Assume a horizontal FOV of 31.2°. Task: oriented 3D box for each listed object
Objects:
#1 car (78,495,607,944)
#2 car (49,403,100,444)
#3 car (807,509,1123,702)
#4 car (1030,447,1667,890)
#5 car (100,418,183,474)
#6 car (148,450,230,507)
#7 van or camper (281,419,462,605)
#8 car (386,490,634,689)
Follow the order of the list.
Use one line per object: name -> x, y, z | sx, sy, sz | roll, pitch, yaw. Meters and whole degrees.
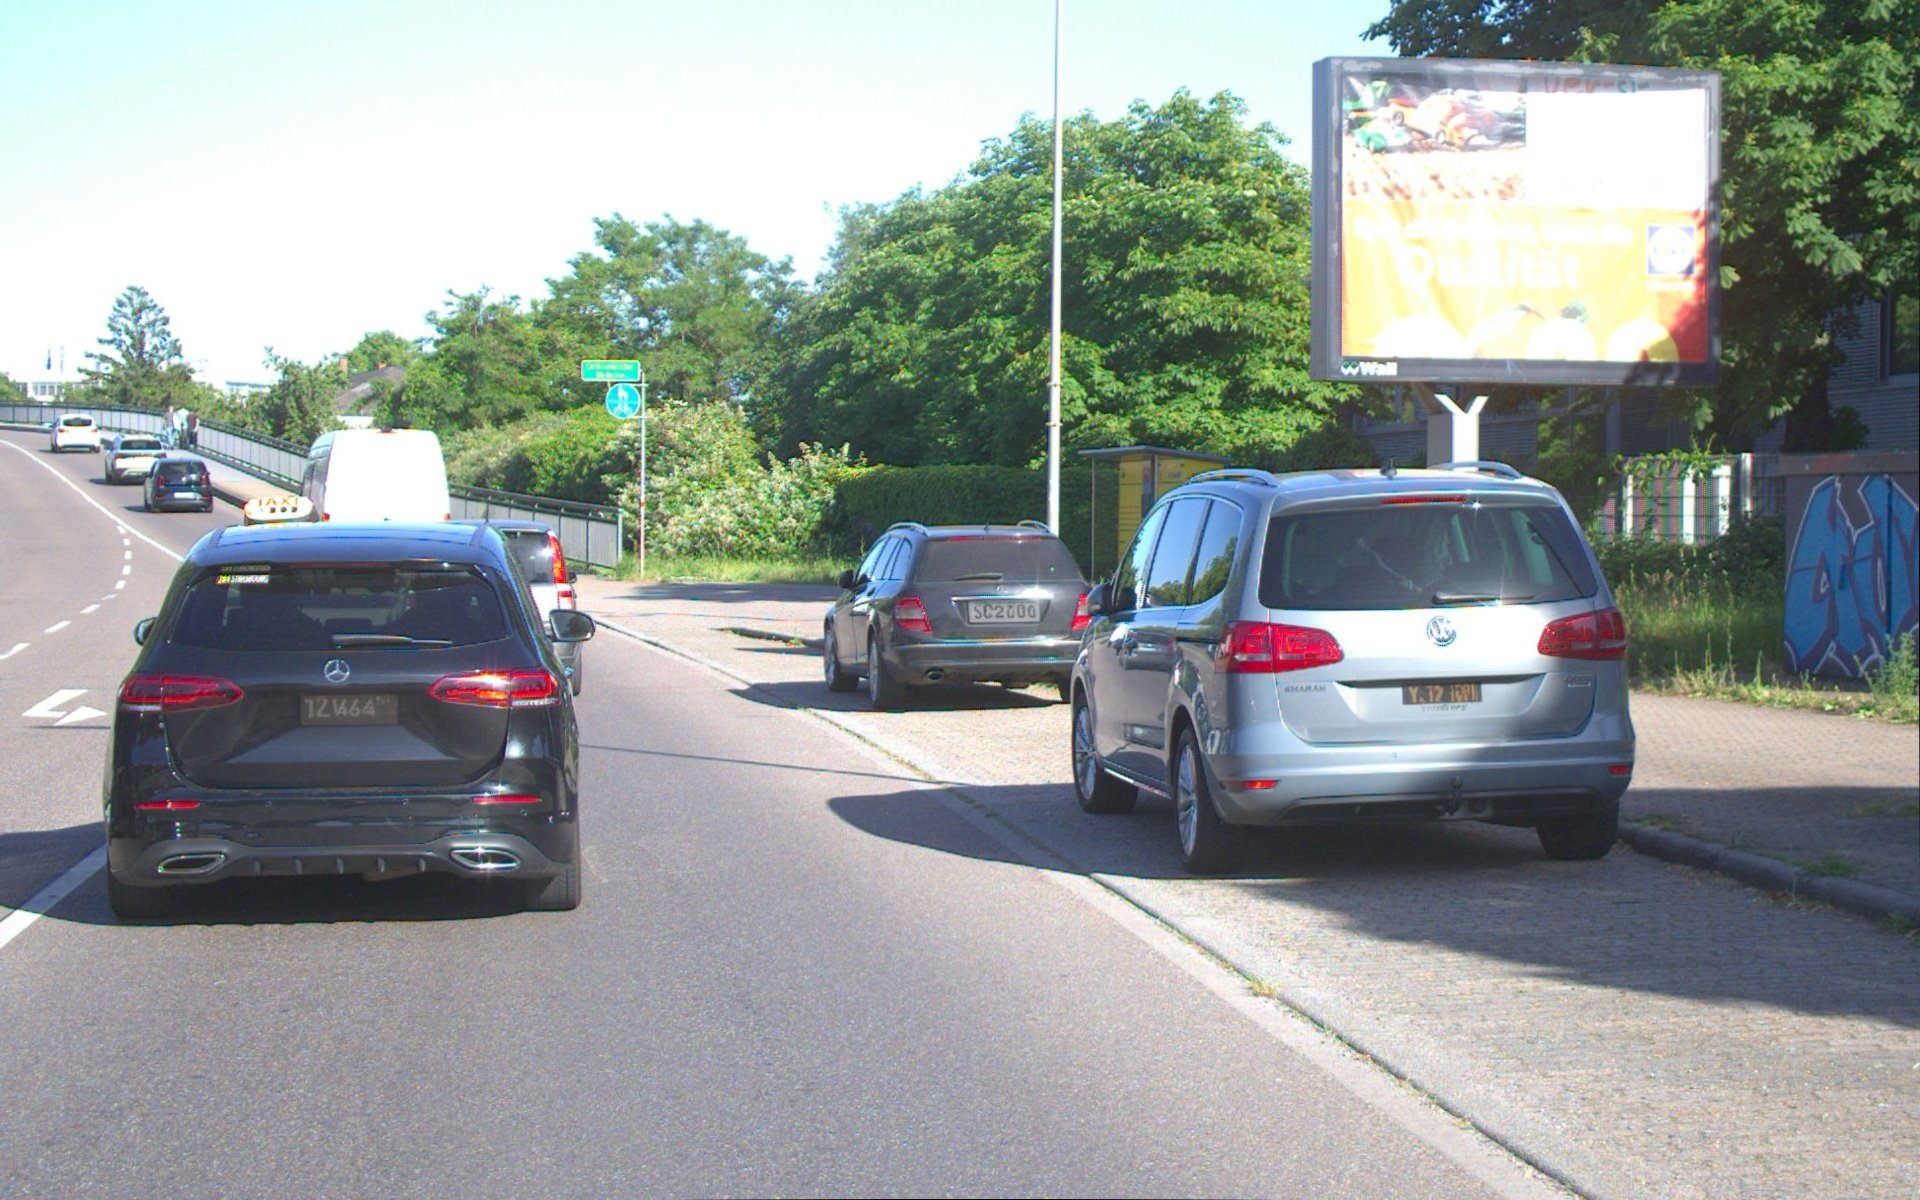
car -> -2.426, 0.388, 14.387 | 1.769, 1.587, 3.990 | 1, 1, -5
car -> -34.627, -6.897, 134.468 | 1.876, 1.538, 4.002 | 0, 2, -14
car -> -0.055, -0.020, 28.103 | 1.808, 1.414, 4.426 | 0, 2, -10
car -> 1.615, 0.213, 16.061 | 1.872, 1.716, 4.613 | -2, 2, -7
car -> -25.889, -4.860, 108.894 | 1.993, 1.674, 4.001 | -1, 1, -5
car -> -21.226, -3.331, 94.791 | 1.918, 1.483, 4.271 | -1, 1, -9
van or camper -> -9.398, -1.438, 54.422 | 2.225, 2.729, 7.083 | 0, 2, -14
car -> -3.916, -0.121, 30.501 | 1.804, 1.634, 4.000 | 1, 1, -2
